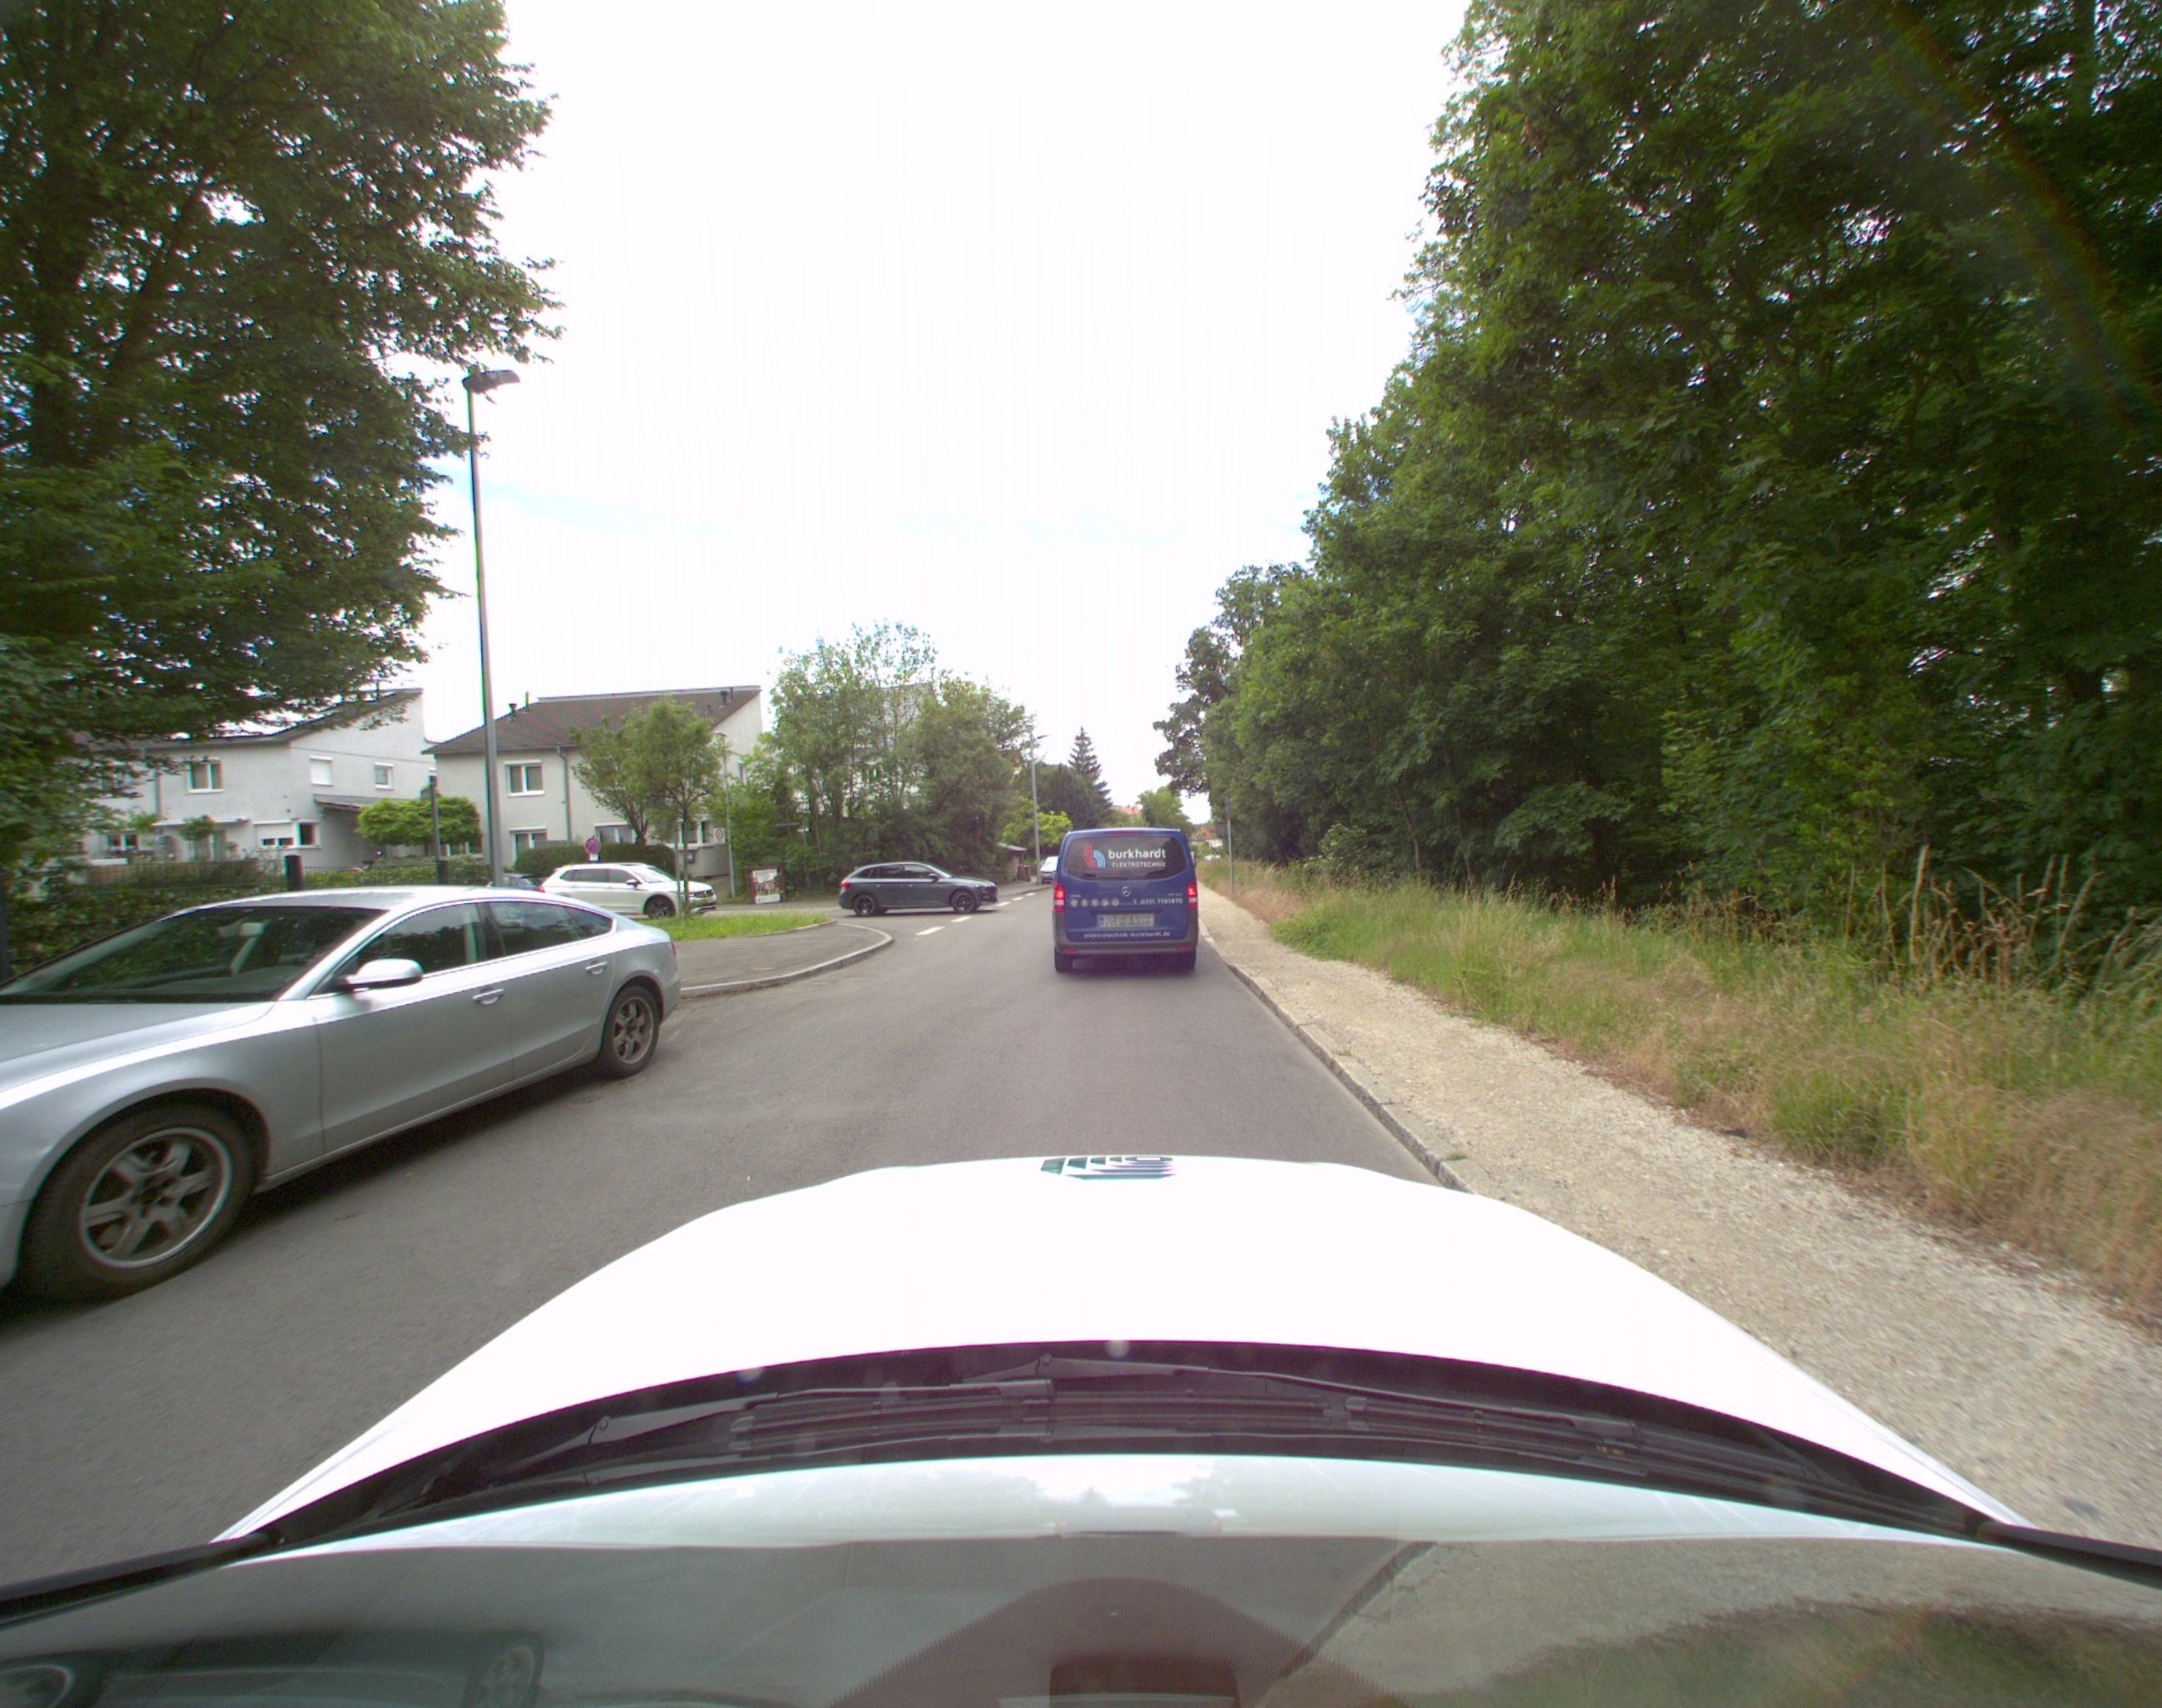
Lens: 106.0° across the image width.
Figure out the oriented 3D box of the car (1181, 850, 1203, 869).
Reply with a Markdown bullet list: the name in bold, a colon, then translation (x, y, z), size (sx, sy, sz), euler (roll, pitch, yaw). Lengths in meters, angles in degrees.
- **car**: translation (13.334, 0.640, 97.588), size (2.191, 2.063, 6.154), euler (-2, 0, 11)

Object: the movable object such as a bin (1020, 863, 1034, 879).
- **movable object such as a bin**: translation (-3.154, 1.019, 47.676), size (0.586, 0.909, 0.703), euler (-1, -1, 12)

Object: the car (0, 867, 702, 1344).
- **car**: translation (-4.133, 0.822, 4.429), size (1.823, 1.374, 4.449), euler (-1, 0, 3)

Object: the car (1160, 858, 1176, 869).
- **car**: translation (11.824, 1.264, 110.305), size (1.737, 1.404, 4.013), euler (-1, 0, 12)

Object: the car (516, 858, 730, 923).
- **car**: translation (-12.898, 1.009, 23.124), size (4.913, 1.670, 2.040), euler (-1, -1, 4)

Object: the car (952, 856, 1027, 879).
- **car**: translation (-5.908, 0.865, 52.642), size (4.454, 1.441, 1.883), euler (-1, 0, 9)

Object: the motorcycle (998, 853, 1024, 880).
- **motorcycle**: translation (-3.915, 0.679, 45.646), size (0.805, 1.485, 2.902), euler (-1, 0, 8)

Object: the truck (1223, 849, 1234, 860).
- **truck**: translation (41.644, 0.053, 229.473), size (2.745, 2.794, 9.299), euler (-2, 0, 12)

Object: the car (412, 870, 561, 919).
- **car**: translation (-19.260, 1.303, 26.510), size (3.530, 1.412, 1.670), euler (-1, 0, -2)

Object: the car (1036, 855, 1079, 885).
- **car**: translation (-1.171, 0.801, 42.975), size (1.697, 1.468, 4.083), euler (-1, 0, 6)

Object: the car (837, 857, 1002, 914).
- **car**: translation (-4.388, 0.850, 22.561), size (4.152, 1.447, 1.740), euler (-1, 0, 0)

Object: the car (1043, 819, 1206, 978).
- **car**: translation (0.641, 0.525, 12.127), size (1.928, 1.880, 4.534), euler (-1, 0, 3)
